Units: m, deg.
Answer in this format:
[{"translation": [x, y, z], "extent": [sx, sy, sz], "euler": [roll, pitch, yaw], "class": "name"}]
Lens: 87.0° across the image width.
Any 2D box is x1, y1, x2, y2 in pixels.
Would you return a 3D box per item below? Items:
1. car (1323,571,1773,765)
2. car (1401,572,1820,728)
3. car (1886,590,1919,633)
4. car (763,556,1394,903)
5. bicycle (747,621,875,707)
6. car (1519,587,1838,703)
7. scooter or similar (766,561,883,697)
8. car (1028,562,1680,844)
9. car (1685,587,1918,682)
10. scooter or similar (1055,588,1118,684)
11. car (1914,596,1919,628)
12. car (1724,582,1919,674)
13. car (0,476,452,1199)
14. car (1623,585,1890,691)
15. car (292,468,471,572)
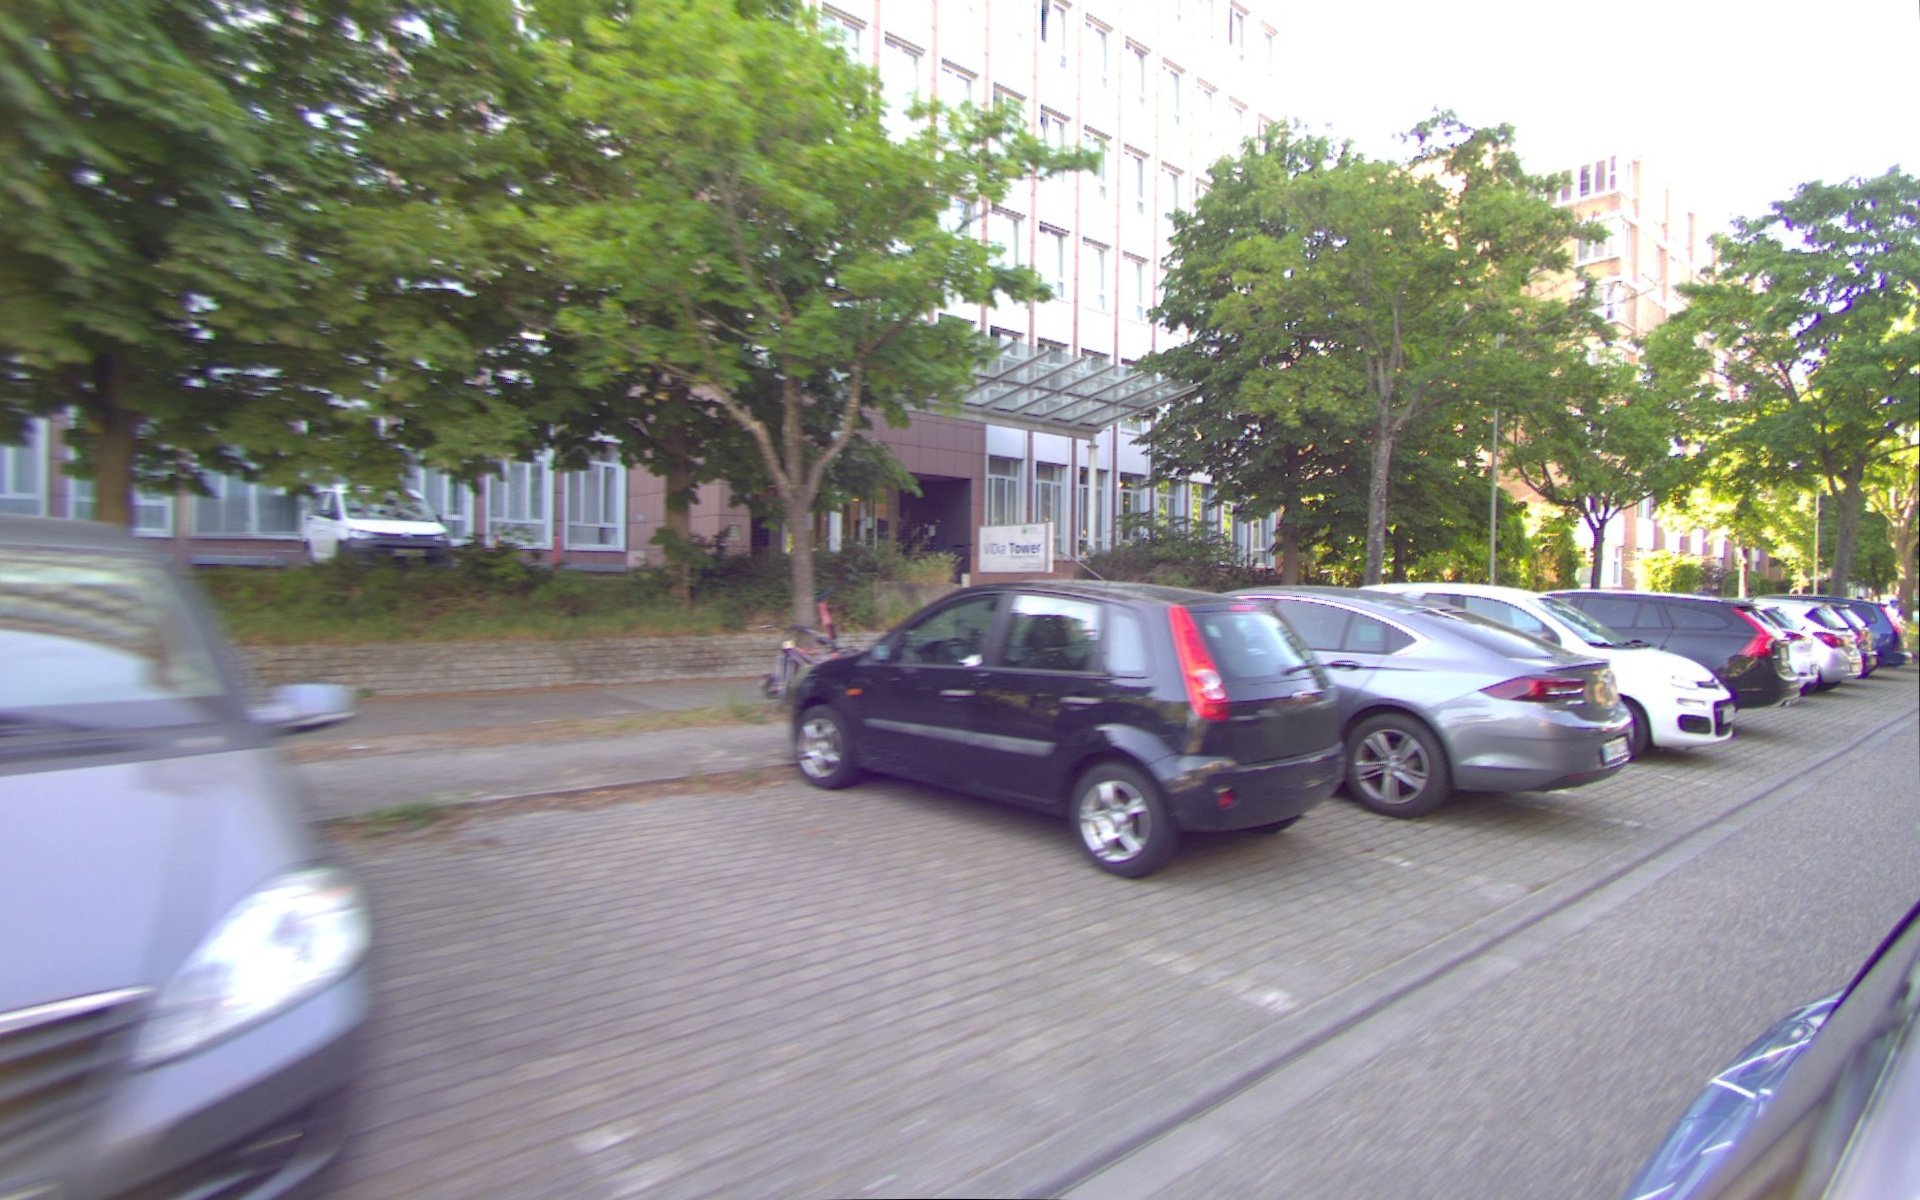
[{"translation": [5.798, 0.519, 10.281], "extent": [1.695, 1.525, 3.579], "euler": [0, 3, -41], "class": "car"}, {"translation": [7.656, 0.460, 12.187], "extent": [1.656, 1.569, 3.974], "euler": [0, 1, -44], "class": "car"}, {"translation": [39.836, 0.461, 40.347], "extent": [1.966, 1.727, 4.158], "euler": [0, 1, -42], "class": "car"}, {"translation": [0.524, 0.524, 6.426], "extent": [1.696, 1.499, 3.713], "euler": [1, 2, -45], "class": "car"}, {"translation": [-1.451, 0.608, 9.981], "extent": [1.255, 0.783, 0.334], "euler": [1, 0, -41], "class": "bicycle"}, {"translation": [11.024, 0.598, 15.720], "extent": [1.629, 1.471, 3.750], "euler": [0, 2, -42], "class": "car"}, {"translation": [-1.483, 0.291, 11.166], "extent": [1.293, 1.419, 0.414], "euler": [0, 0, -44], "class": "scooter or similar"}, {"translation": [2.748, 0.530, 7.927], "extent": [1.827, 1.573, 4.427], "euler": [0, 1, -41], "class": "car"}, {"translation": [15.297, 0.554, 18.495], "extent": [1.469, 1.477, 2.999], "euler": [0, 3, -38], "class": "car"}, {"translation": [1.660, 0.441, 13.156], "extent": [0.270, 1.201, 1.232], "euler": [0, 0, 36], "class": "scooter or similar"}, {"translation": [47.132, 0.565, 46.954], "extent": [1.918, 1.490, 3.996], "euler": [0, 1, -39], "class": "car"}, {"translation": [17.678, 0.501, 20.594], "extent": [1.575, 1.624, 3.055], "euler": [0, 2, -38], "class": "car"}, {"translation": [-3.069, 0.508, 2.886], "extent": [1.780, 1.584, 3.873], "euler": [-1, 3, -45], "class": "car"}, {"translation": [13.229, 0.549, 16.949], "extent": [1.559, 1.497, 3.206], "euler": [0, 2, -37], "class": "car"}, {"translation": [-11.115, -1.407, 19.294], "extent": [1.845, 1.707, 4.719], "euler": [0, 1, -44], "class": "car"}]
